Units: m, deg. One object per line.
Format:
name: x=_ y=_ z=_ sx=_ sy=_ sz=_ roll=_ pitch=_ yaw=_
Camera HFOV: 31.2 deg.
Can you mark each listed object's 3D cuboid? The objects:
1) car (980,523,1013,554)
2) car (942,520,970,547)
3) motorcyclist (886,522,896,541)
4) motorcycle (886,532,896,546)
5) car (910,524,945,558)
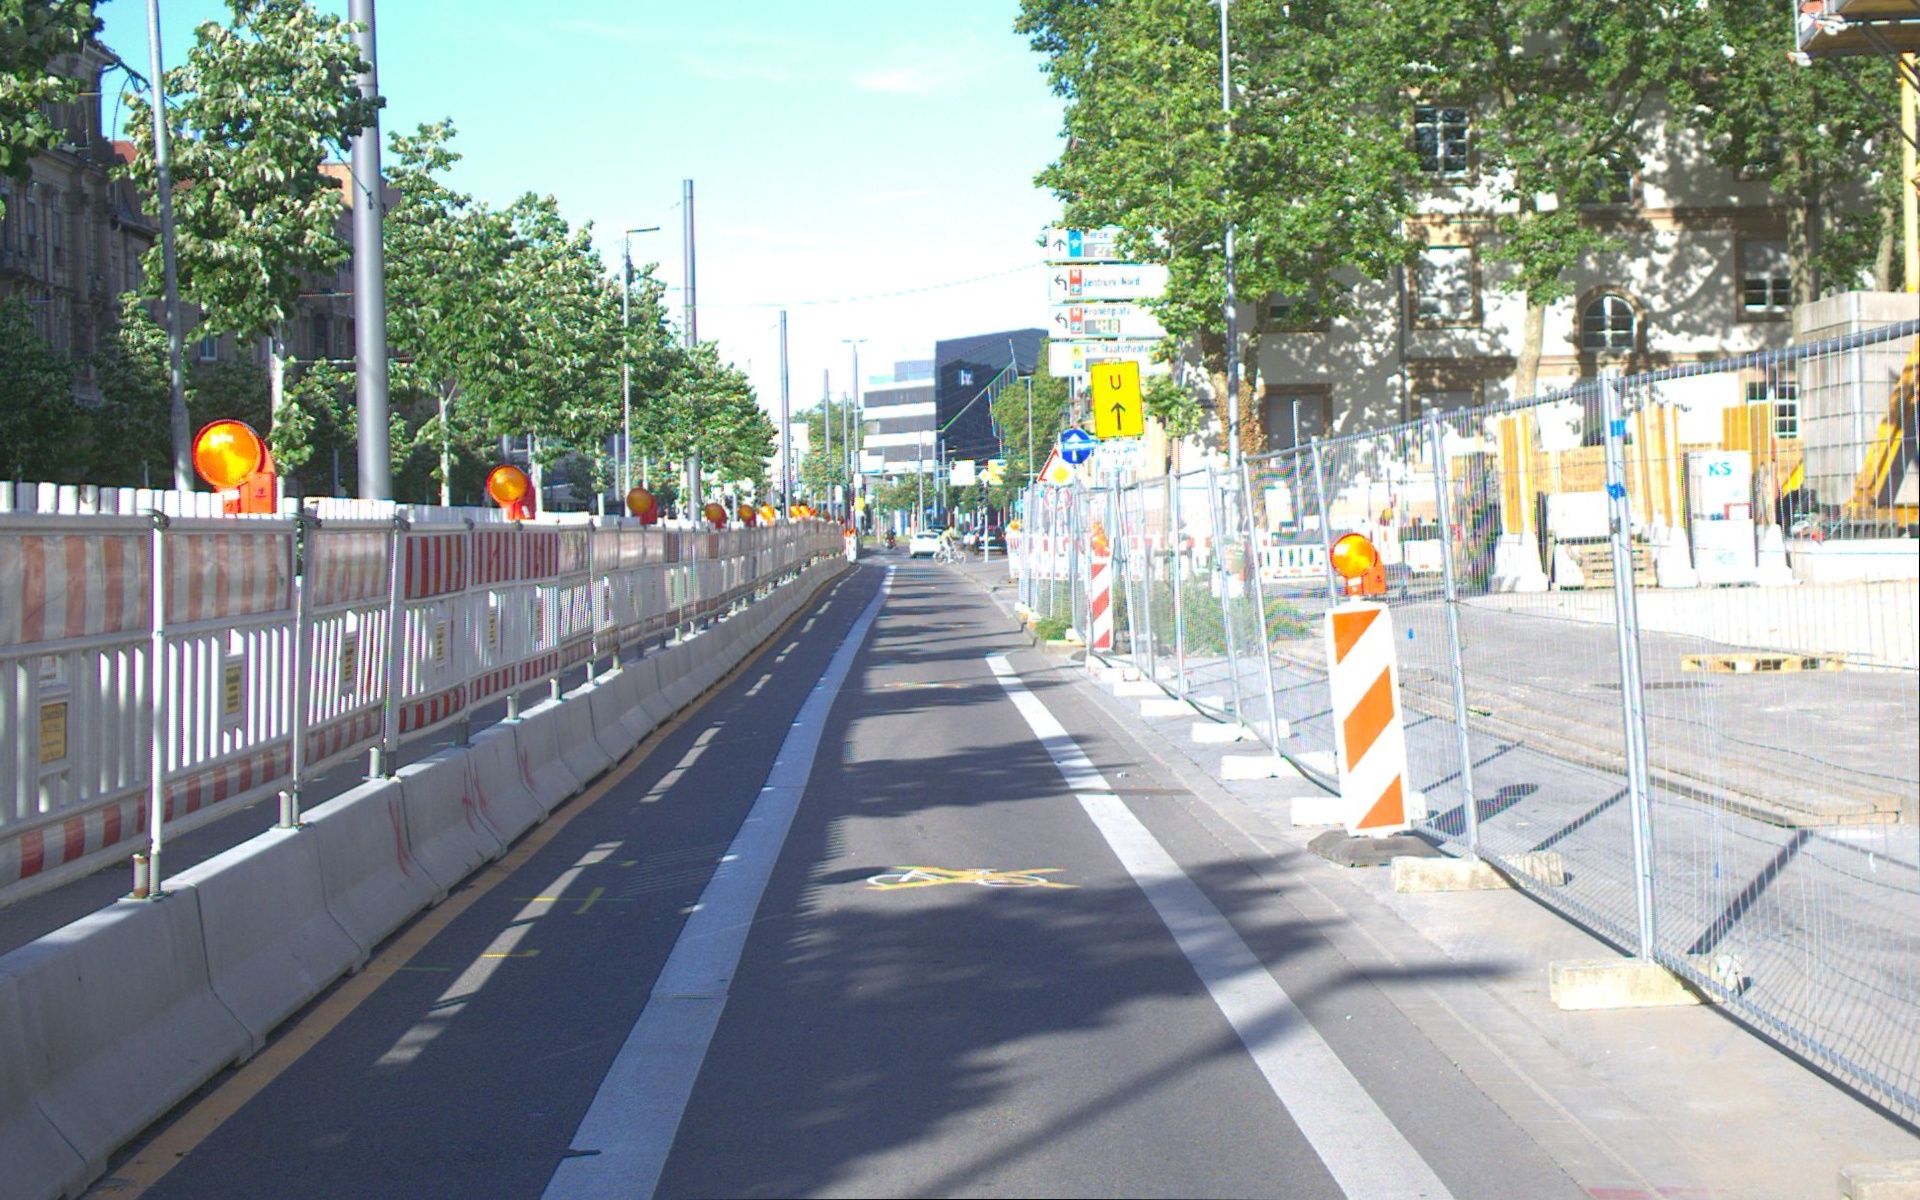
car: x=2.202 y=-3.711 z=206.803 sx=1.883 sy=1.836 sz=3.668 roll=-1 pitch=1 yaw=-1
car: x=-0.289 y=-4.649 z=239.140 sx=1.883 sy=1.836 sz=3.668 roll=-1 pitch=1 yaw=-1
motorcyclist: x=-4.687 y=-4.674 z=233.906 sx=0.631 sy=1.258 sz=0.606 roll=-1 pitch=1 yaw=-1
motorcycle: x=-4.673 y=-4.162 z=233.885 sx=0.631 sy=0.893 sz=1.621 roll=-1 pitch=1 yaw=-1
car: x=-1.792 y=-3.234 z=187.749 sx=1.883 sy=1.836 sz=3.668 roll=-1 pitch=1 yaw=-1
